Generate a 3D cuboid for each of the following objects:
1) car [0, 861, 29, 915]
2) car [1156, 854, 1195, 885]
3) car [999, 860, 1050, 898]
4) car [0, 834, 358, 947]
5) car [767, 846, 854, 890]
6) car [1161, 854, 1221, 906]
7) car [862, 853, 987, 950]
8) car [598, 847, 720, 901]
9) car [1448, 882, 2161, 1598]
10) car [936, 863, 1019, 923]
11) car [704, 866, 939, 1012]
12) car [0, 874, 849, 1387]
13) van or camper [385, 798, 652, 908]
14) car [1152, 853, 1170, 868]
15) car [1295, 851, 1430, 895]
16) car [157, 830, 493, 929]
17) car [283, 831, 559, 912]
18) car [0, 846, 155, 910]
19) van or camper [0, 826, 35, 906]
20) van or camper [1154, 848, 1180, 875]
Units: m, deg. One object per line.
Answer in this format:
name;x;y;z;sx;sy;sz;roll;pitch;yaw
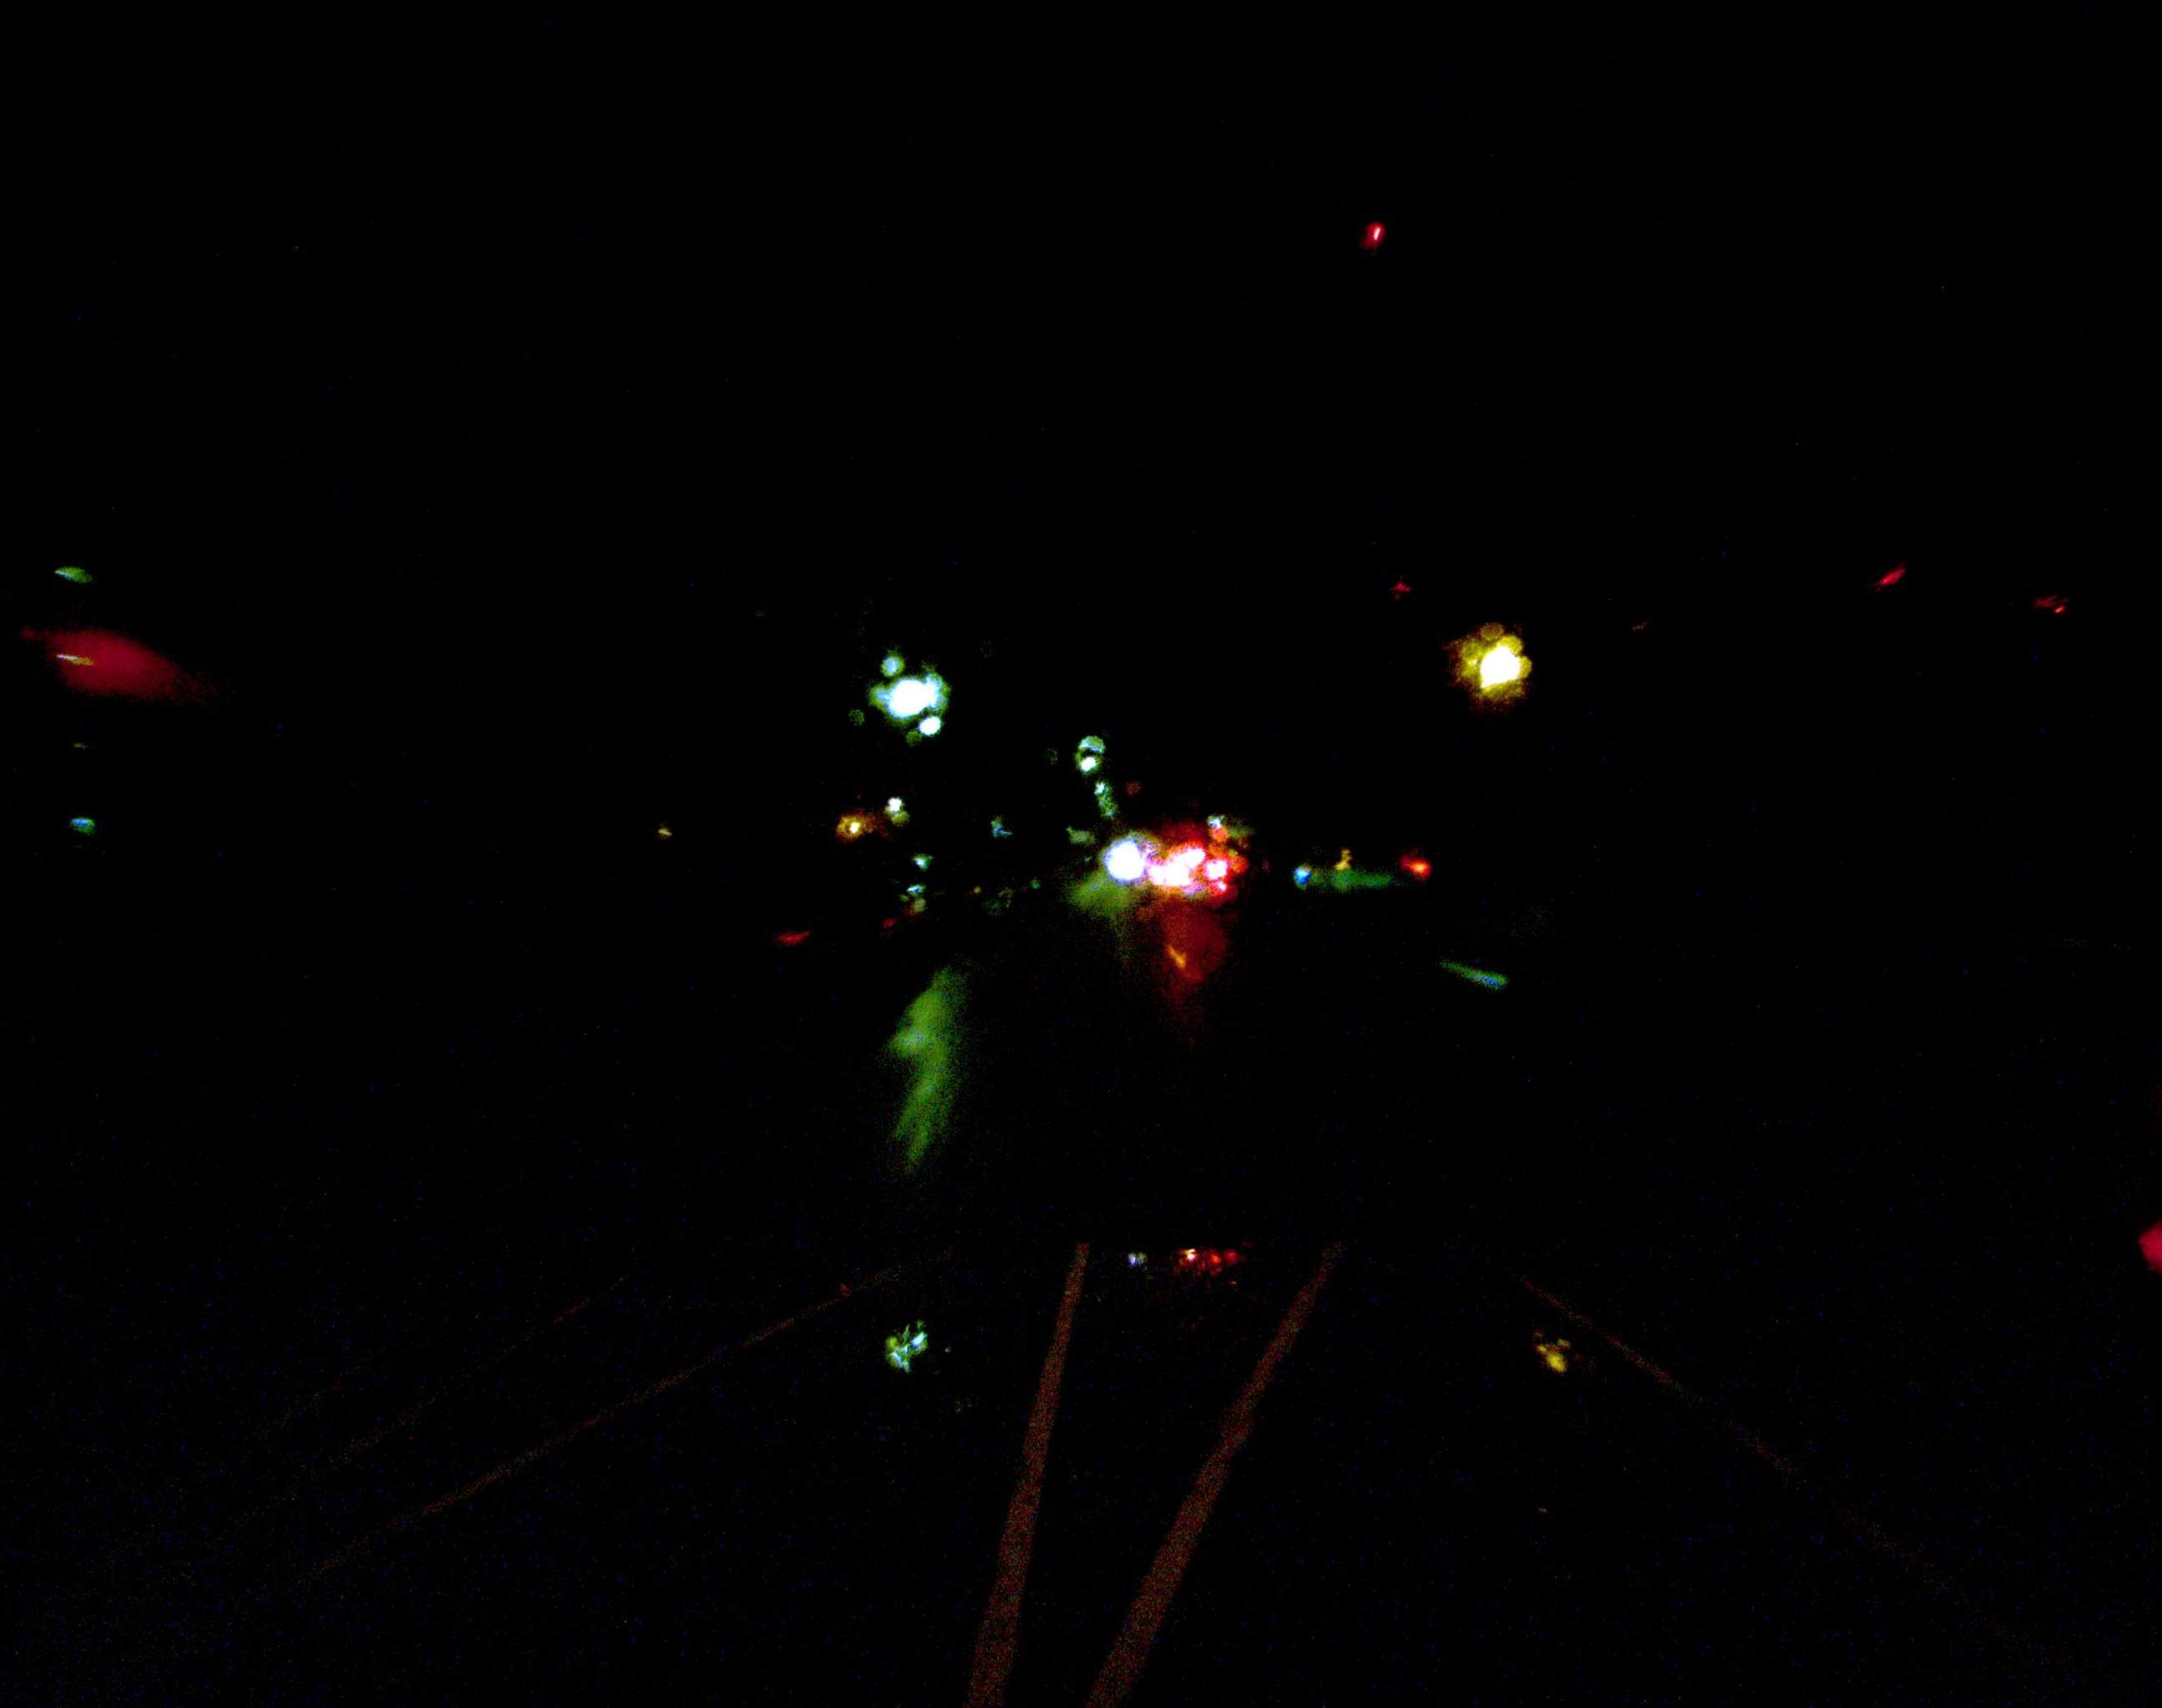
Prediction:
car;-26.590;0.774;16.939;3.997;1.242;1.644;0;0;0
car;4.999;0.781;40.761;1.800;1.452;4.579;-2;0;4
car;-2.359;1.015;32.851;1.794;1.440;4.791;2;0;1
car;-13.298;0.498;11.037;3.997;1.512;1.685;0;0;1
car;-11.495;0.541;32.576;1.908;1.686;4.260;-2;0;4
car;3.461;0.787;24.266;1.551;1.490;2.793;-2;0;2
car;-3.082;0.878;15.807;1.717;1.698;4.187;2;0;-1
car;-12.332;0.550;22.442;1.566;1.460;3.409;0;0;3
car;3.119;0.860;2.504;1.680;1.426;4.513;0;-1;1
car;-2.848;1.034;21.859;1.717;1.480;4.436;0;0;1
car;-3.264;0.977;10.502;1.758;1.519;4.153;2;0;0
car;-3.091;0.972;4.761;1.886;1.563;4.528;2;0;-1
van or camper;-13.671;-0.013;18.668;5.073;2.512;2.172;0;0;4
car;7.957;0.662;75.885;1.749;1.425;4.002;-1;-1;5
car;10.759;0.719;29.392;4.696;1.609;2.002;0;-1;13
car;-13.064;0.424;13.314;4.228;1.608;1.685;0;0;1
car;-13.701;0.351;15.964;4.228;1.607;1.806;0;0;1
car;-26.510;0.586;19.334;3.997;1.567;1.565;0;0;0
van or camper;-36.859;0.383;23.678;5.390;2.539;2.382;0;1;3
van or camper;6.845;0.598;60.946;1.874;2.091;4.943;0;0;4
